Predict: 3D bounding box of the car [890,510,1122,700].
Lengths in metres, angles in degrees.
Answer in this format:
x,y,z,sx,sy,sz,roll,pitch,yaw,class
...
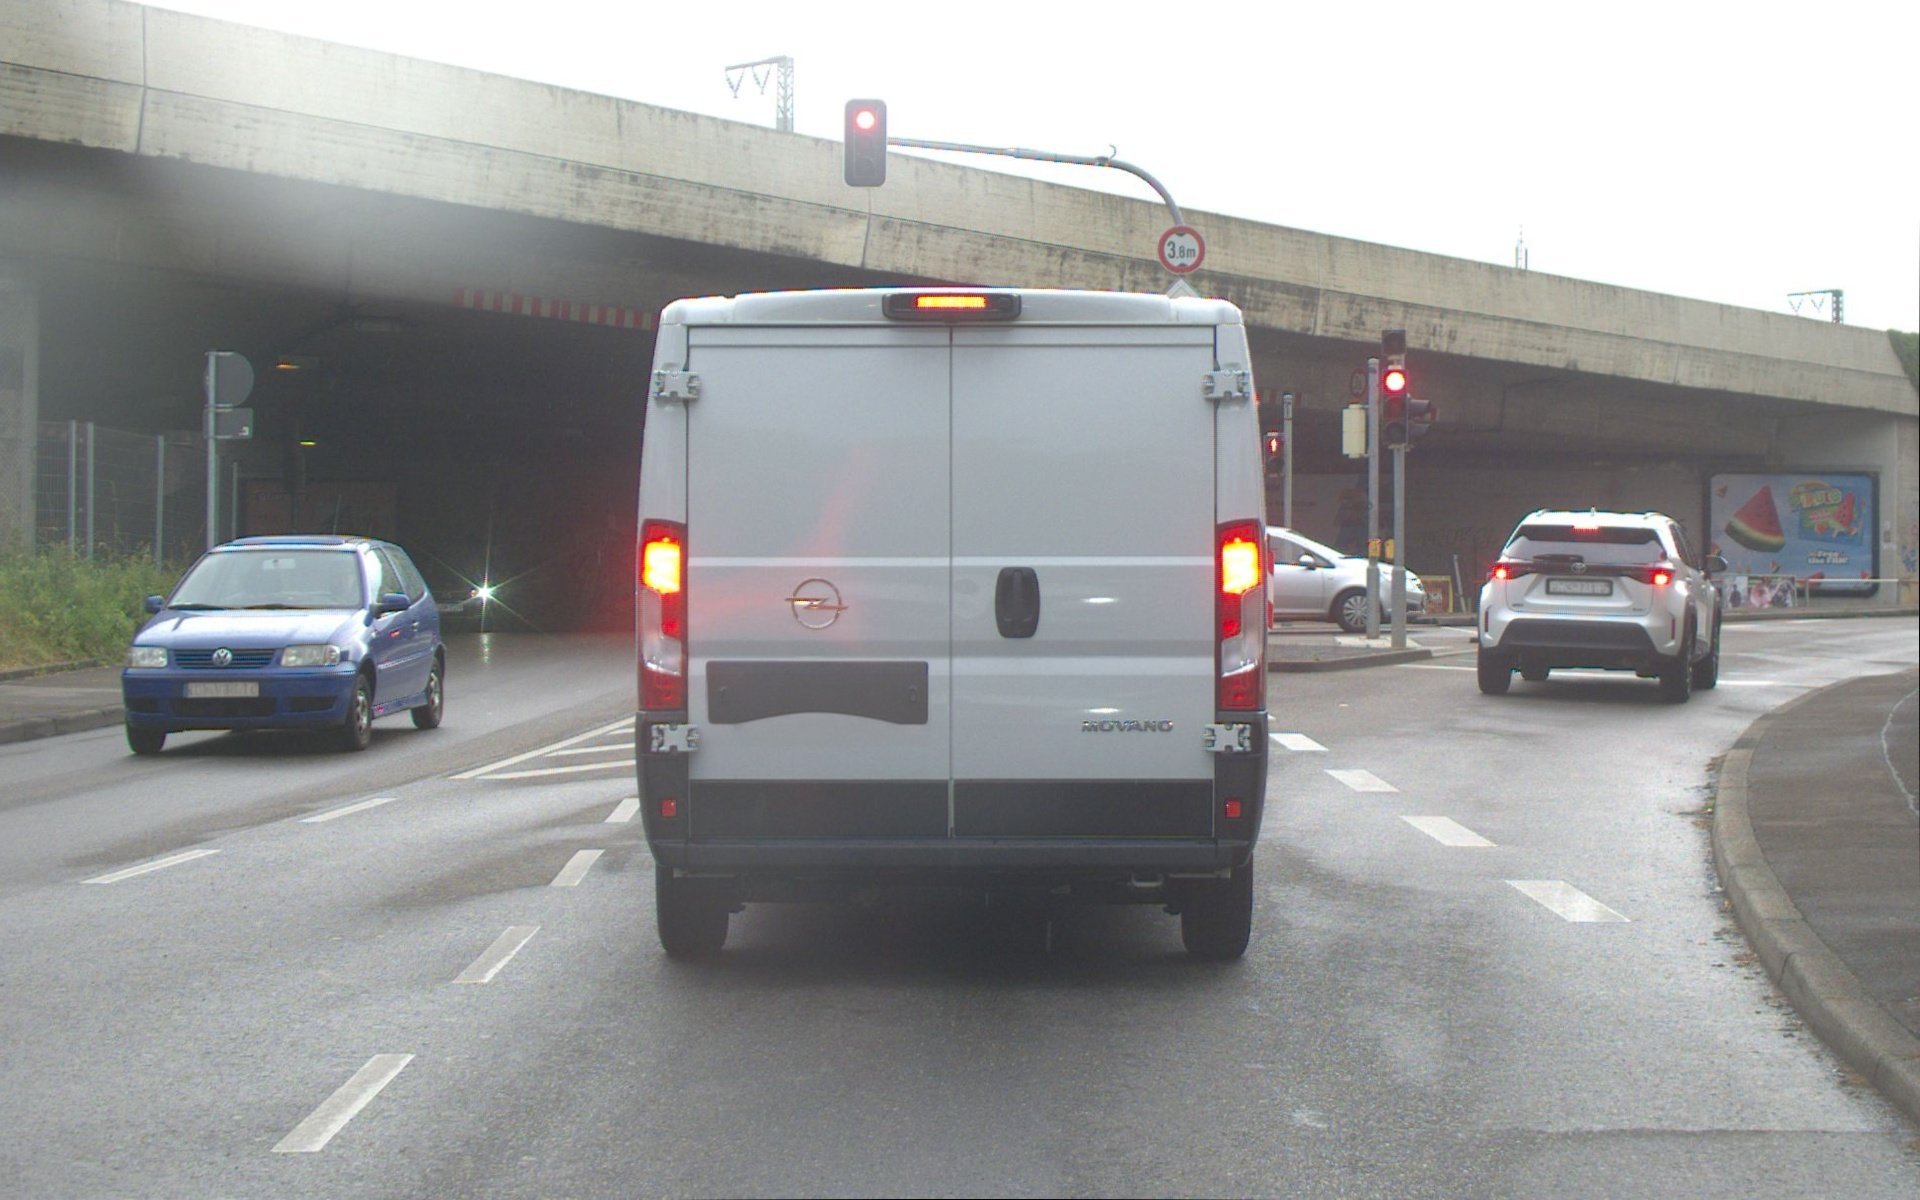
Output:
x,y,z,sx,sy,sz,roll,pitch,yaw,class
0.516,0.040,33.670,1.994,1.723,3.999,1,0,5,car

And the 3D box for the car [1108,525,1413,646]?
x,y,z,sx,sy,sz,roll,pitch,yaw,class
4.065,-0.192,46.302,3.988,1.548,1.999,1,0,7,car

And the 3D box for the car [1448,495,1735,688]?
x,y,z,sx,sy,sz,roll,pitch,yaw,class
5.547,-0.077,29.830,1.995,1.544,3.997,1,0,17,car

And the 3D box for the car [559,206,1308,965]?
x,y,z,sx,sy,sz,roll,pitch,yaw,class
-0.008,-0.078,13.257,2.305,2.335,5.282,0,1,2,car

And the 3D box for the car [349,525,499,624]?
x,y,z,sx,sy,sz,roll,pitch,yaw,class
-8.826,-0.446,56.322,1.841,1.564,4.414,0,1,-17,car

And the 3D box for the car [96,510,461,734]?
x,y,z,sx,sy,sz,roll,pitch,yaw,class
-4.649,0.095,23.939,1.598,1.421,3.697,1,1,4,car
